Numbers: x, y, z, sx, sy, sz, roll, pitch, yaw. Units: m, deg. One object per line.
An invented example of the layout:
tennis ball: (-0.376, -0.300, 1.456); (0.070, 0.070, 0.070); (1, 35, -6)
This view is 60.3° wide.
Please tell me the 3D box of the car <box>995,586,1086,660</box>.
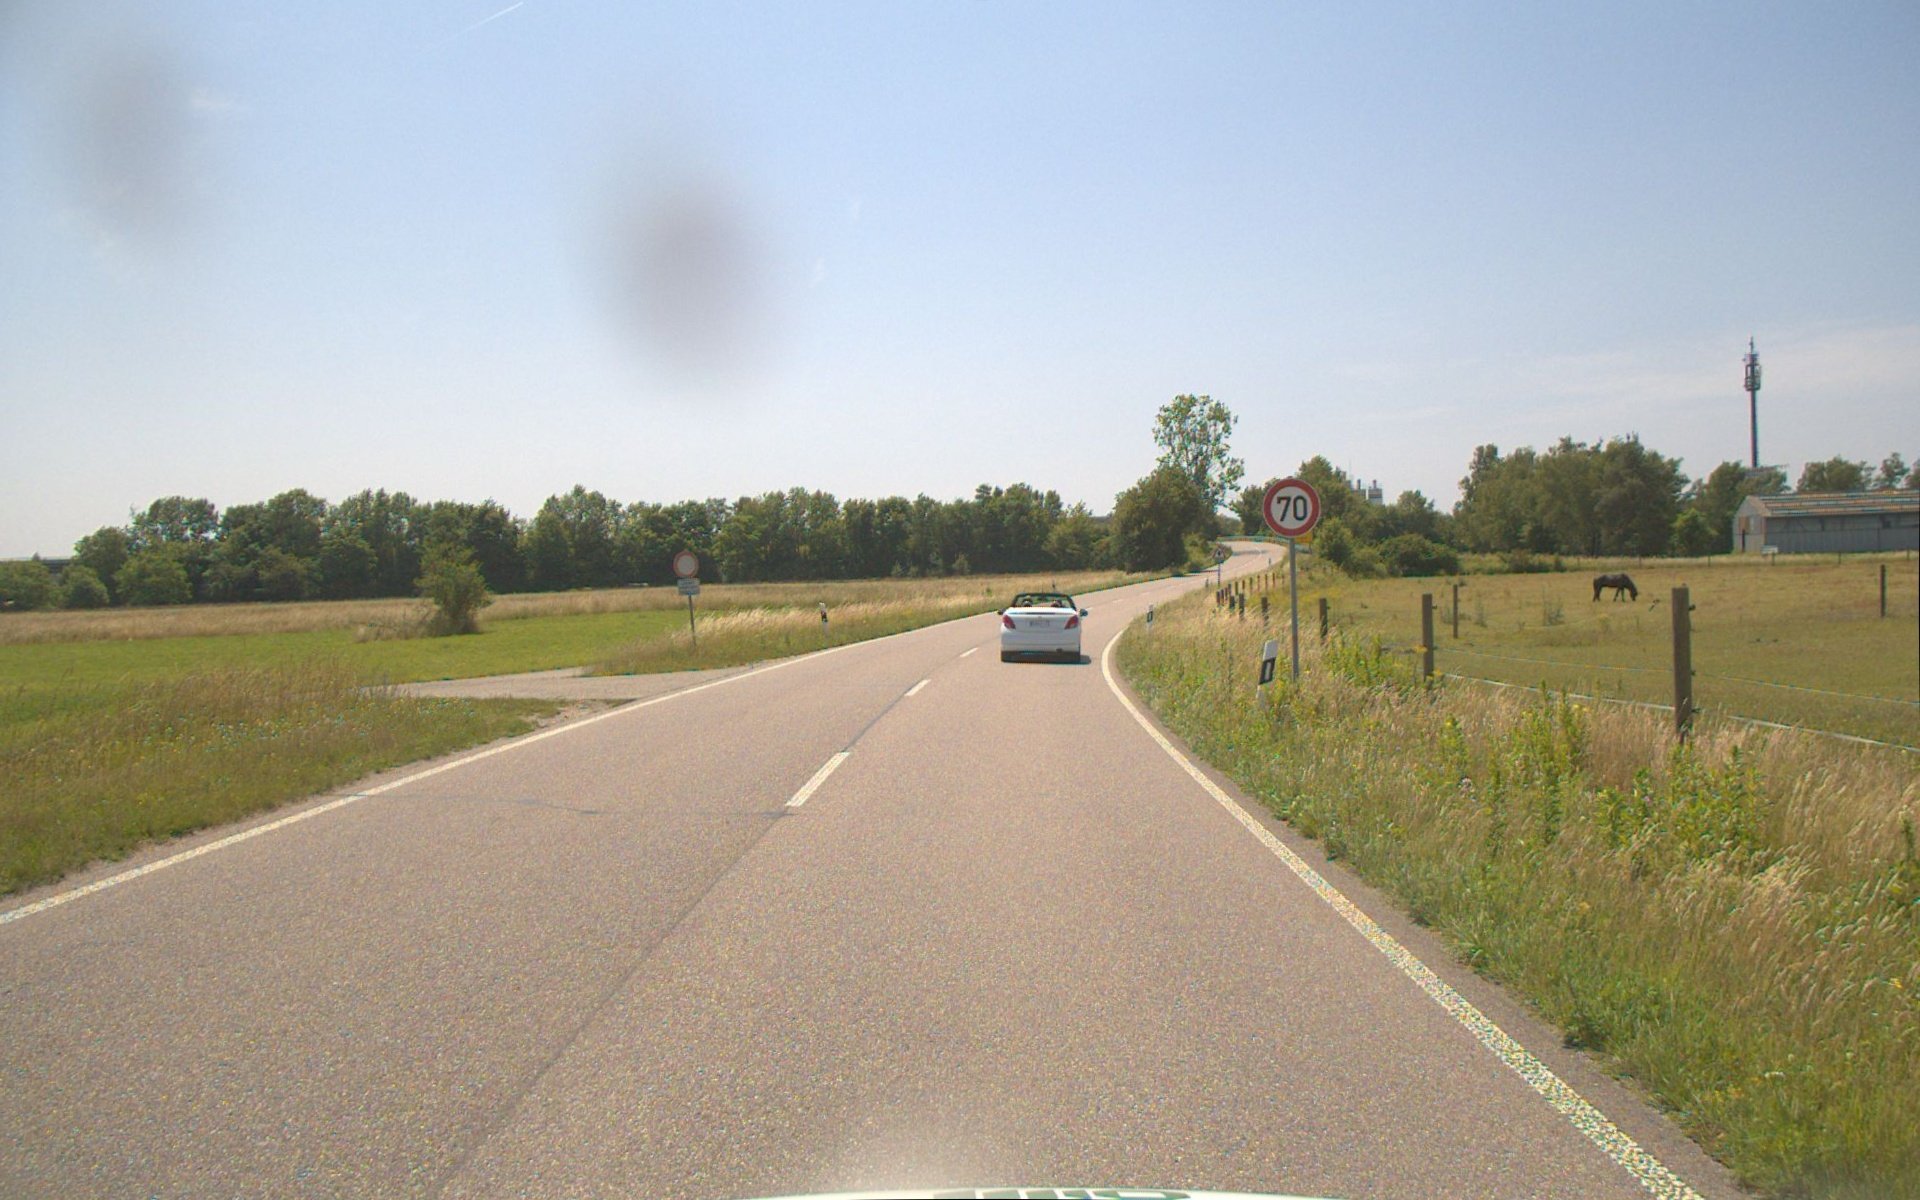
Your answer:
car: (1.751, 0.448, 35.246); (1.812, 1.403, 4.002); (1, 1, 4)
